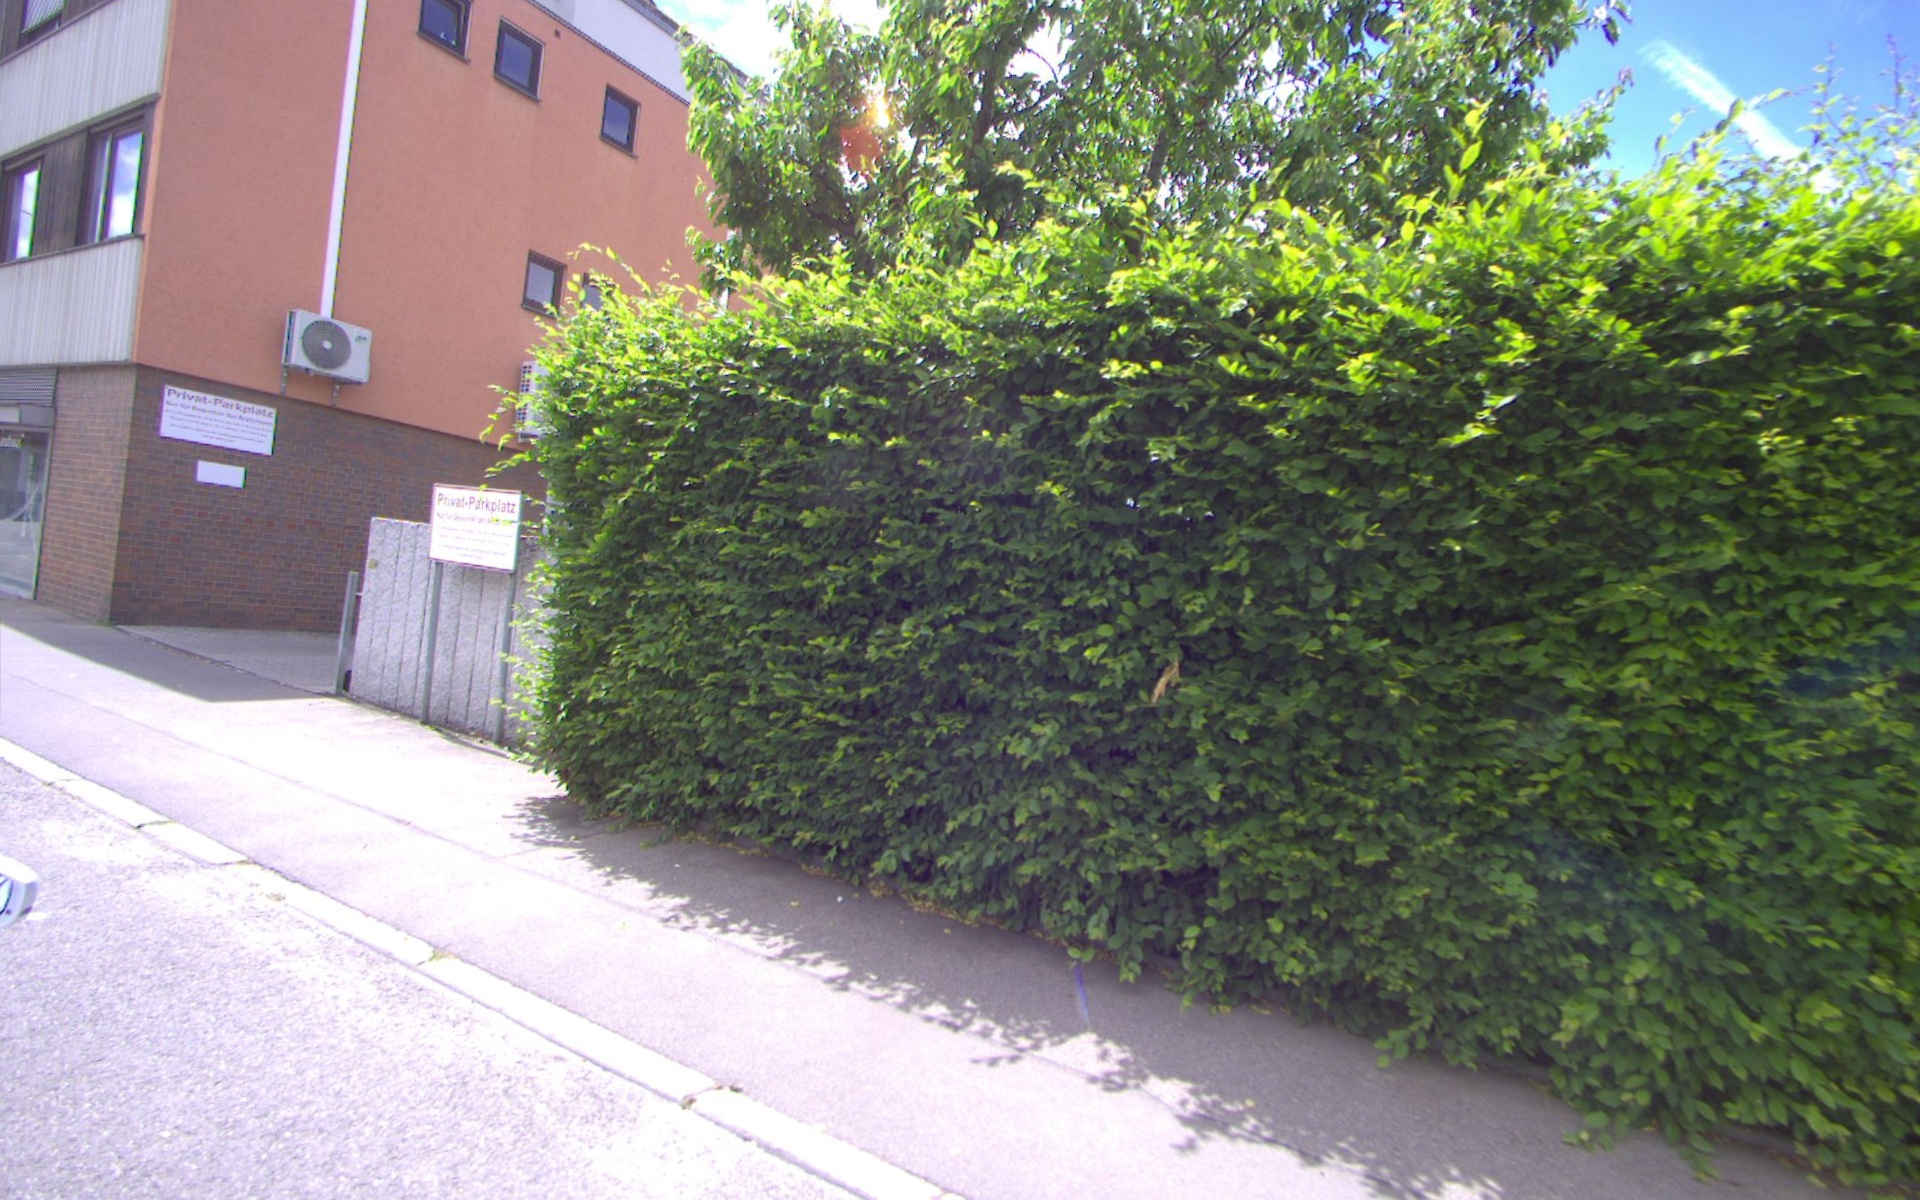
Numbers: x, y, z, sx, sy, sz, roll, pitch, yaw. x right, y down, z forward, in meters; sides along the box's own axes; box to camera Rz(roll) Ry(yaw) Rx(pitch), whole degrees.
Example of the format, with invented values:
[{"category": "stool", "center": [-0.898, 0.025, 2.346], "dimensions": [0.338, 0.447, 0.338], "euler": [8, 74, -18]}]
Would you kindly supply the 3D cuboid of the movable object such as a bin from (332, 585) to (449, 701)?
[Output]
[{"category": "movable object such as a bin", "center": [-5.260, 0.401, 9.314], "dimensions": [0.674, 0.962, 0.534], "euler": [7, 0, 18]}]
